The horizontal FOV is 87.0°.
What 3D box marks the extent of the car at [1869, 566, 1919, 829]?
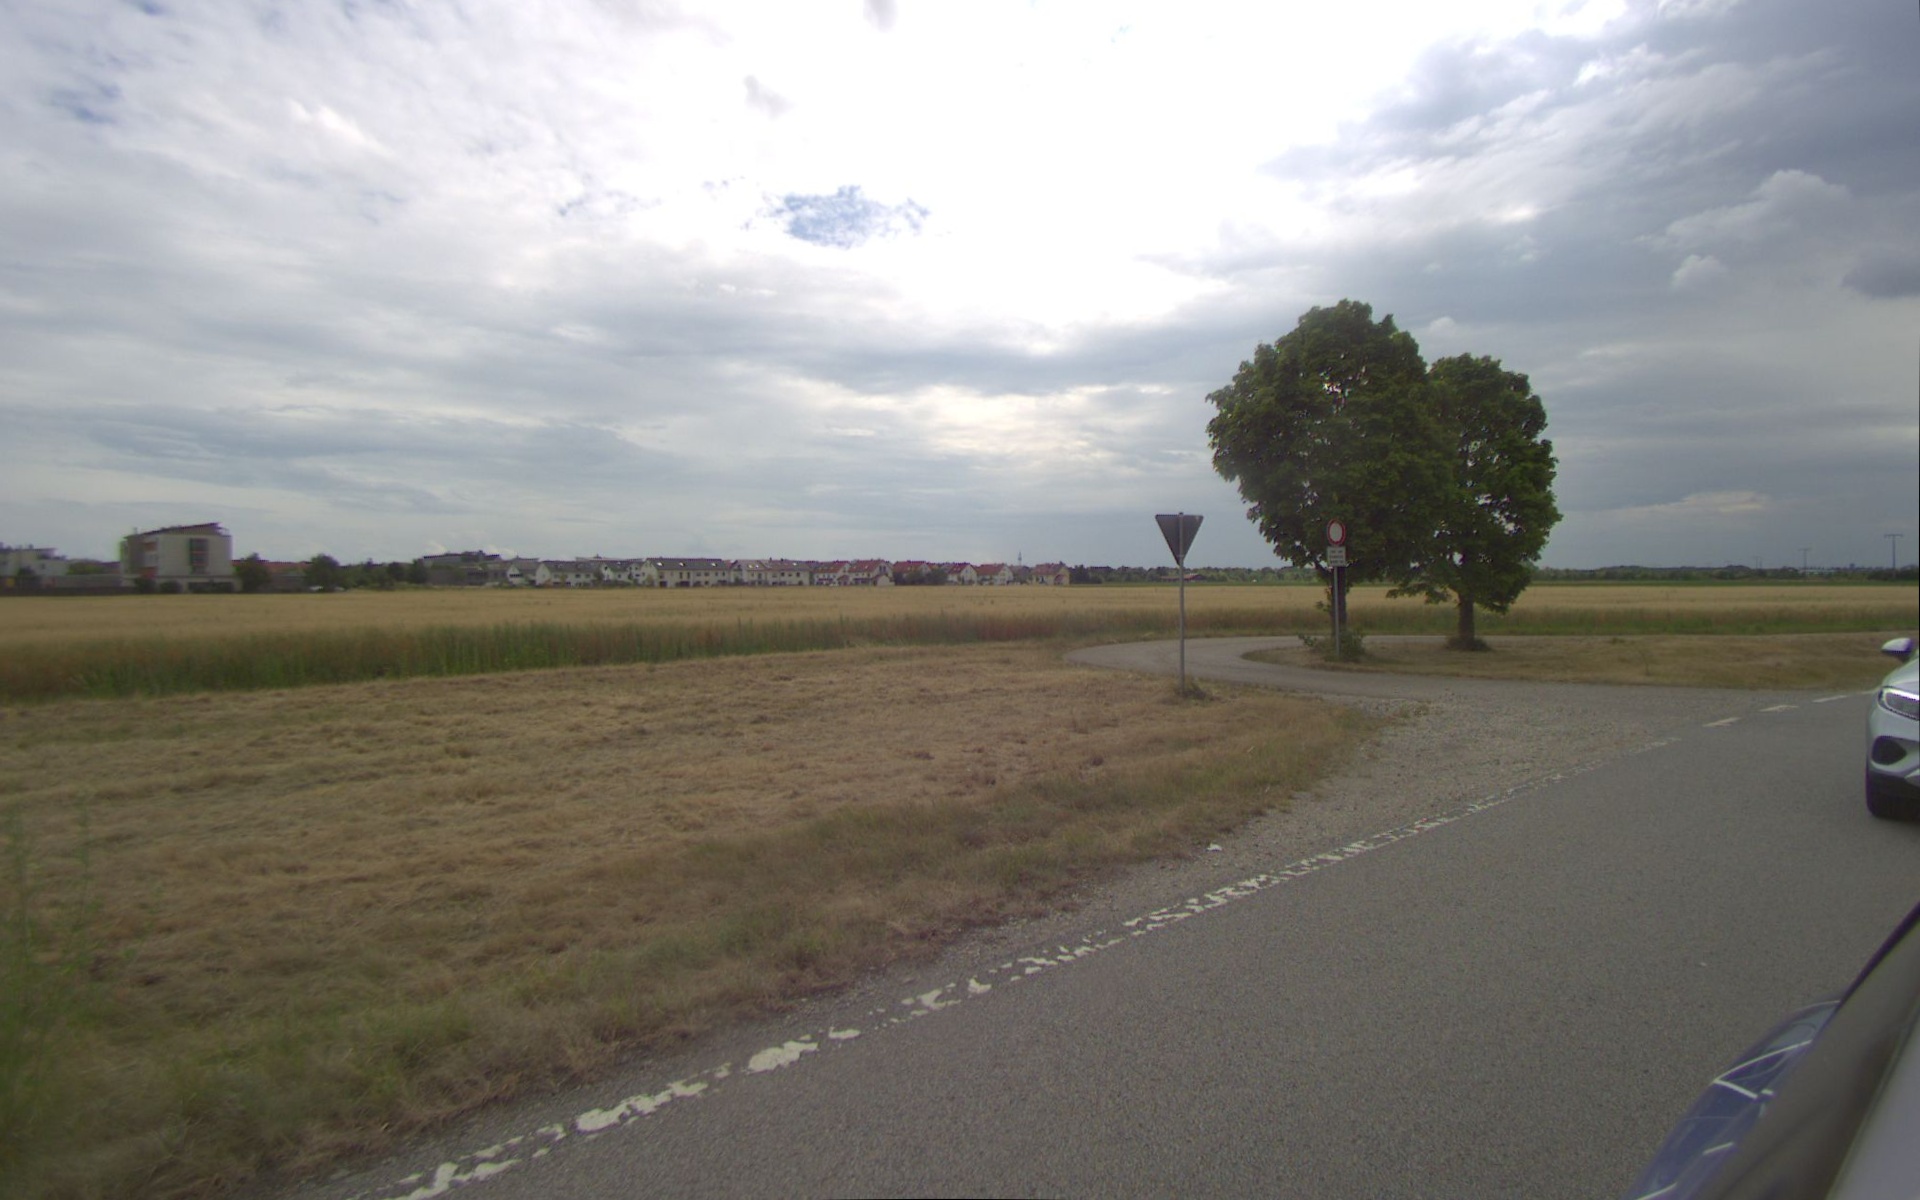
[{"bbox_3d":[7.967,0.606,7.141,4.373,1.606,1.835,0,1,-42],"label":"car"}]
